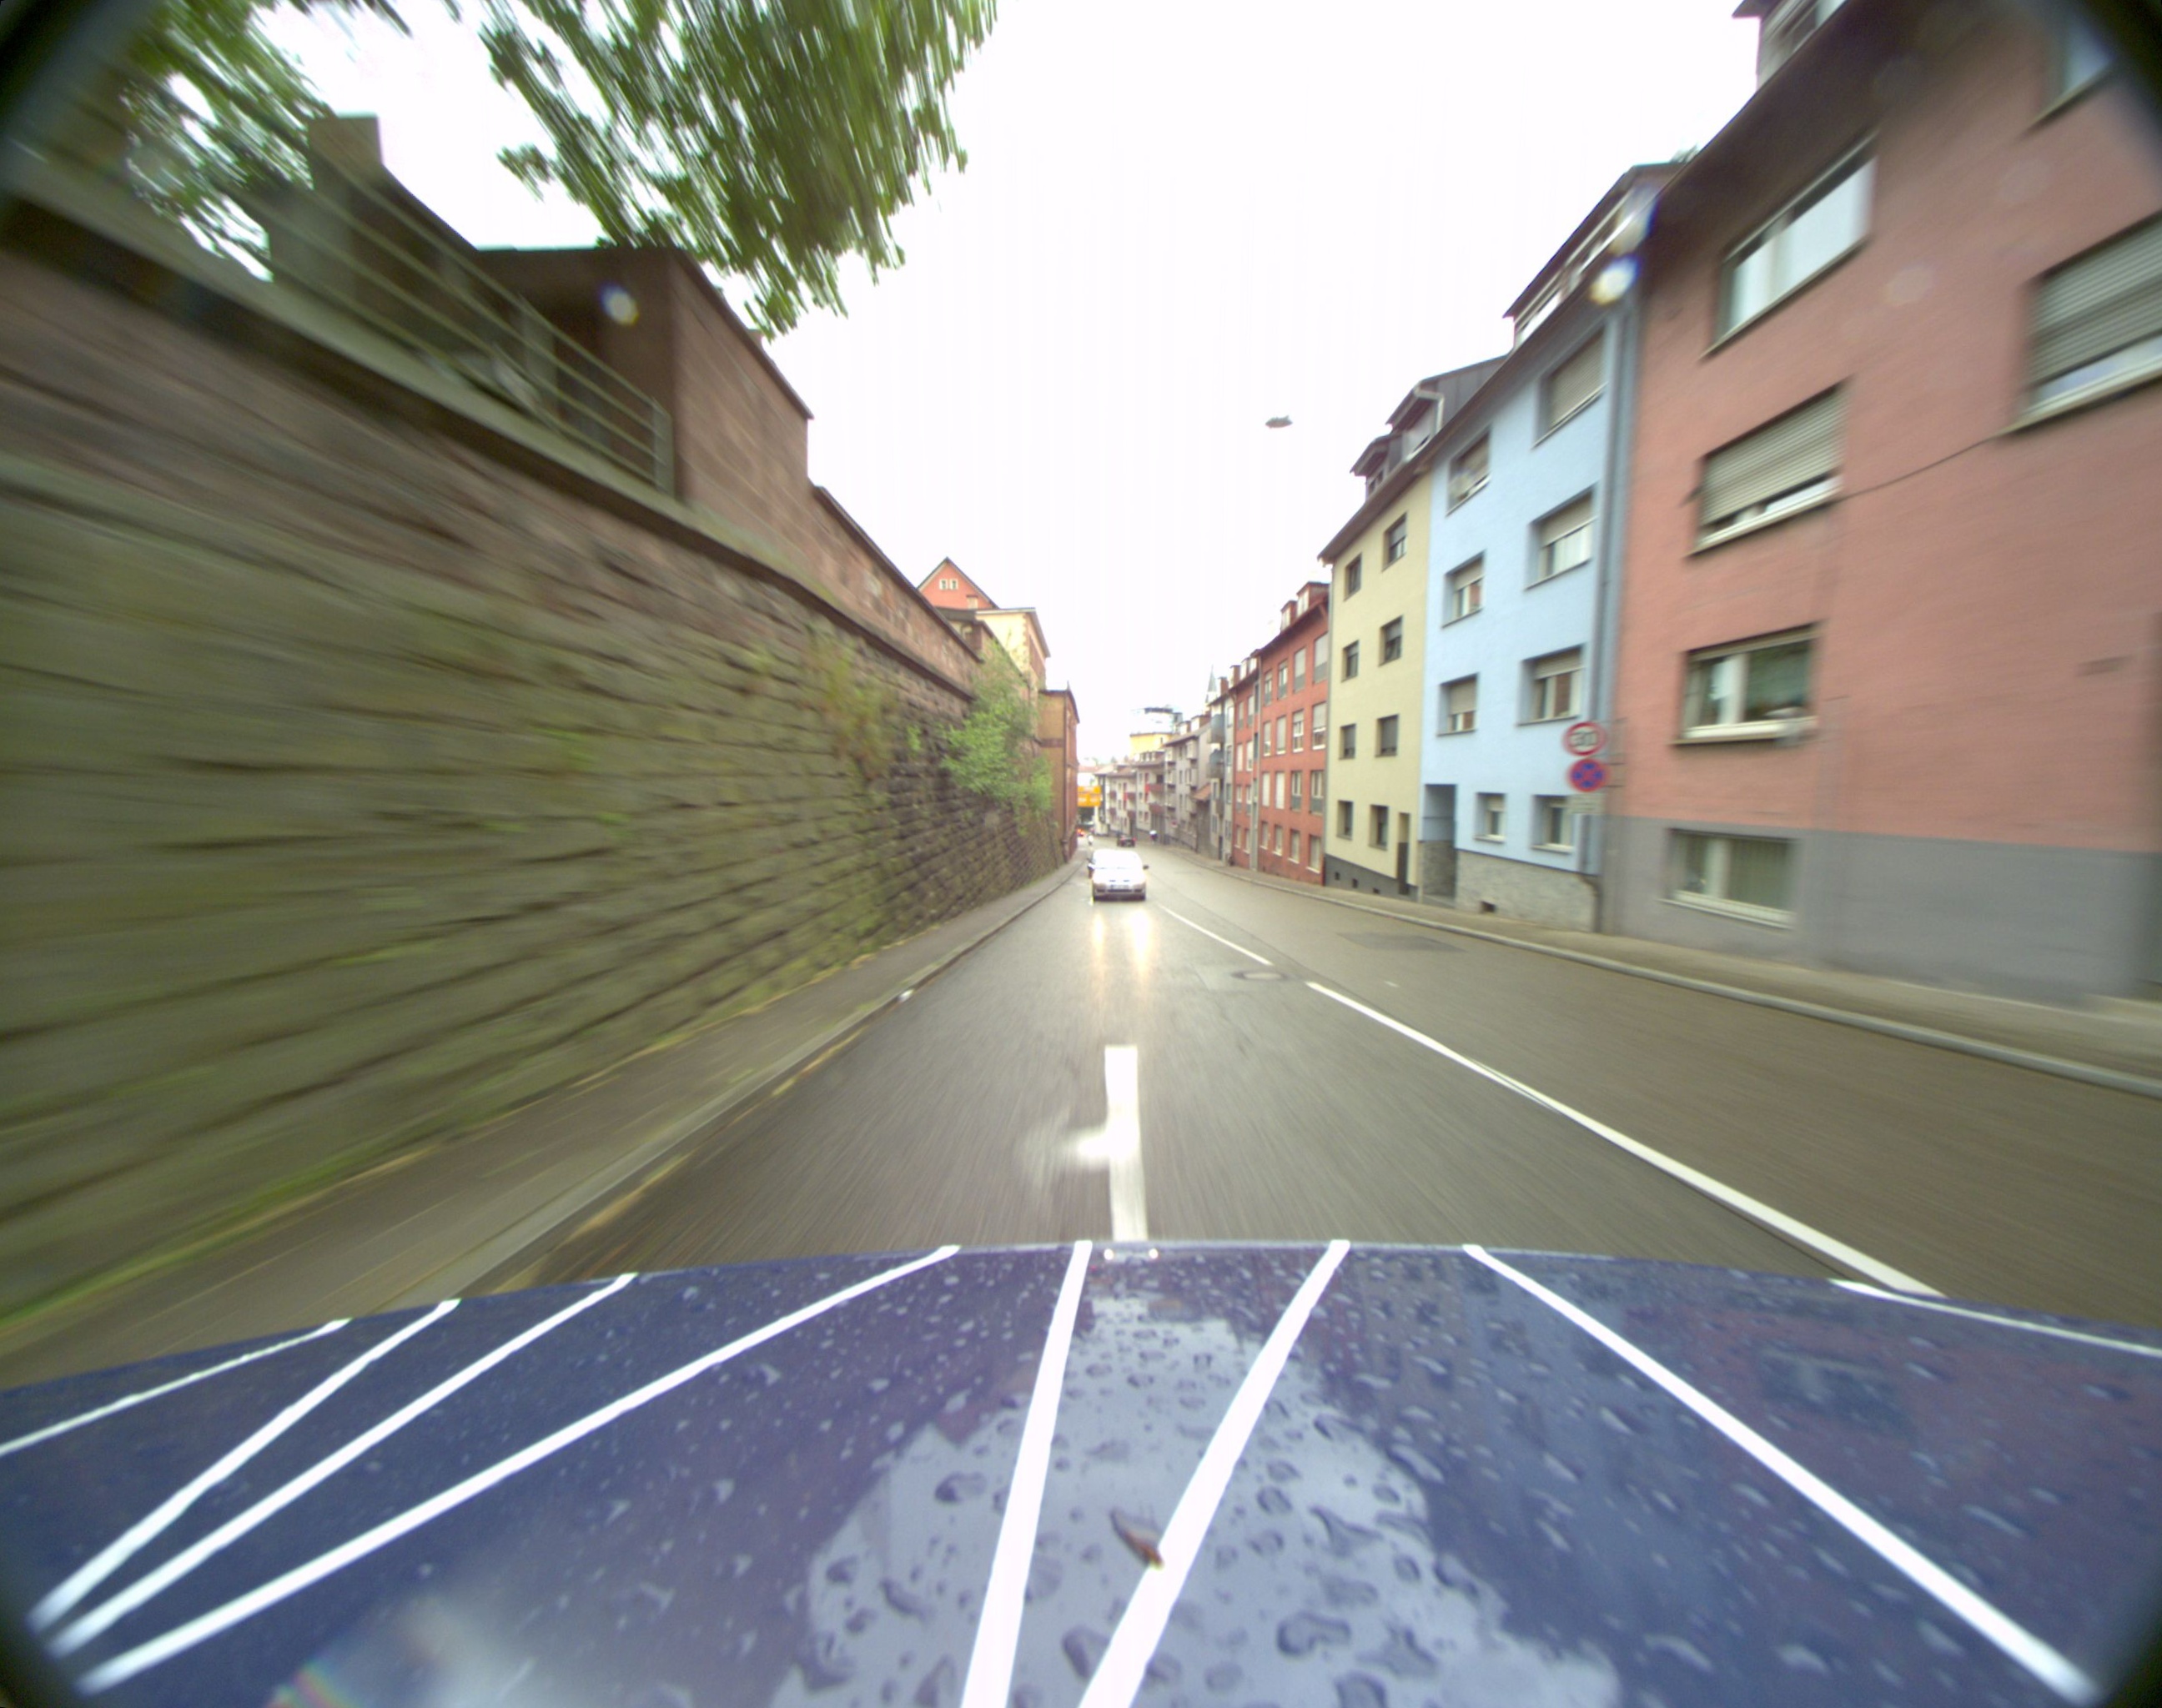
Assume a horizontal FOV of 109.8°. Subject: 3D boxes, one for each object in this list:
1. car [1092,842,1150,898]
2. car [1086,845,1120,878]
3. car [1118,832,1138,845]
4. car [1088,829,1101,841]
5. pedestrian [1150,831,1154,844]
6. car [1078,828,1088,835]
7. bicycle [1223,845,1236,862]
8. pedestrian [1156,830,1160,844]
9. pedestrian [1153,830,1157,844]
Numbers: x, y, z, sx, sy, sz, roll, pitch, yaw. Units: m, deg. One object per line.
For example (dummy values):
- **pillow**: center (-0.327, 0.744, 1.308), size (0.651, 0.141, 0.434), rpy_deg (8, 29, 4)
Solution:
- **car**: center (1.269, 0.468, 24.970), size (1.719, 1.528, 3.998), rpy_deg (-1, 3, 2)
- **car**: center (1.159, 0.350, 41.497), size (1.720, 1.528, 3.998), rpy_deg (-1, 3, 0)
- **car**: center (5.858, -1.953, 94.975), size (1.999, 1.470, 3.997), rpy_deg (2, 3, -4)
- **car**: center (1.805, -2.525, 102.464), size (1.637, 1.521, 4.000), rpy_deg (-1, 0, -1)
- **pedestrian**: center (9.422, -2.209, 100.370), size (0.387, 1.770, 0.499), rpy_deg (-2, 3, -7)
- **car**: center (0.355, -4.235, 143.019), size (1.714, 1.317, 3.368), rpy_deg (-2, 3, -4)
- **bicycle**: center (10.441, -0.065, 53.530), size (0.572, 1.111, 2.039), rpy_deg (-2, 2, 3)
- **pedestrian**: center (10.206, -2.233, 100.466), size (0.355, 1.770, 0.499), rpy_deg (-2, 3, -7)
- **pedestrian**: center (9.824, -2.221, 100.413), size (0.381, 1.770, 0.499), rpy_deg (-2, 3, -7)
